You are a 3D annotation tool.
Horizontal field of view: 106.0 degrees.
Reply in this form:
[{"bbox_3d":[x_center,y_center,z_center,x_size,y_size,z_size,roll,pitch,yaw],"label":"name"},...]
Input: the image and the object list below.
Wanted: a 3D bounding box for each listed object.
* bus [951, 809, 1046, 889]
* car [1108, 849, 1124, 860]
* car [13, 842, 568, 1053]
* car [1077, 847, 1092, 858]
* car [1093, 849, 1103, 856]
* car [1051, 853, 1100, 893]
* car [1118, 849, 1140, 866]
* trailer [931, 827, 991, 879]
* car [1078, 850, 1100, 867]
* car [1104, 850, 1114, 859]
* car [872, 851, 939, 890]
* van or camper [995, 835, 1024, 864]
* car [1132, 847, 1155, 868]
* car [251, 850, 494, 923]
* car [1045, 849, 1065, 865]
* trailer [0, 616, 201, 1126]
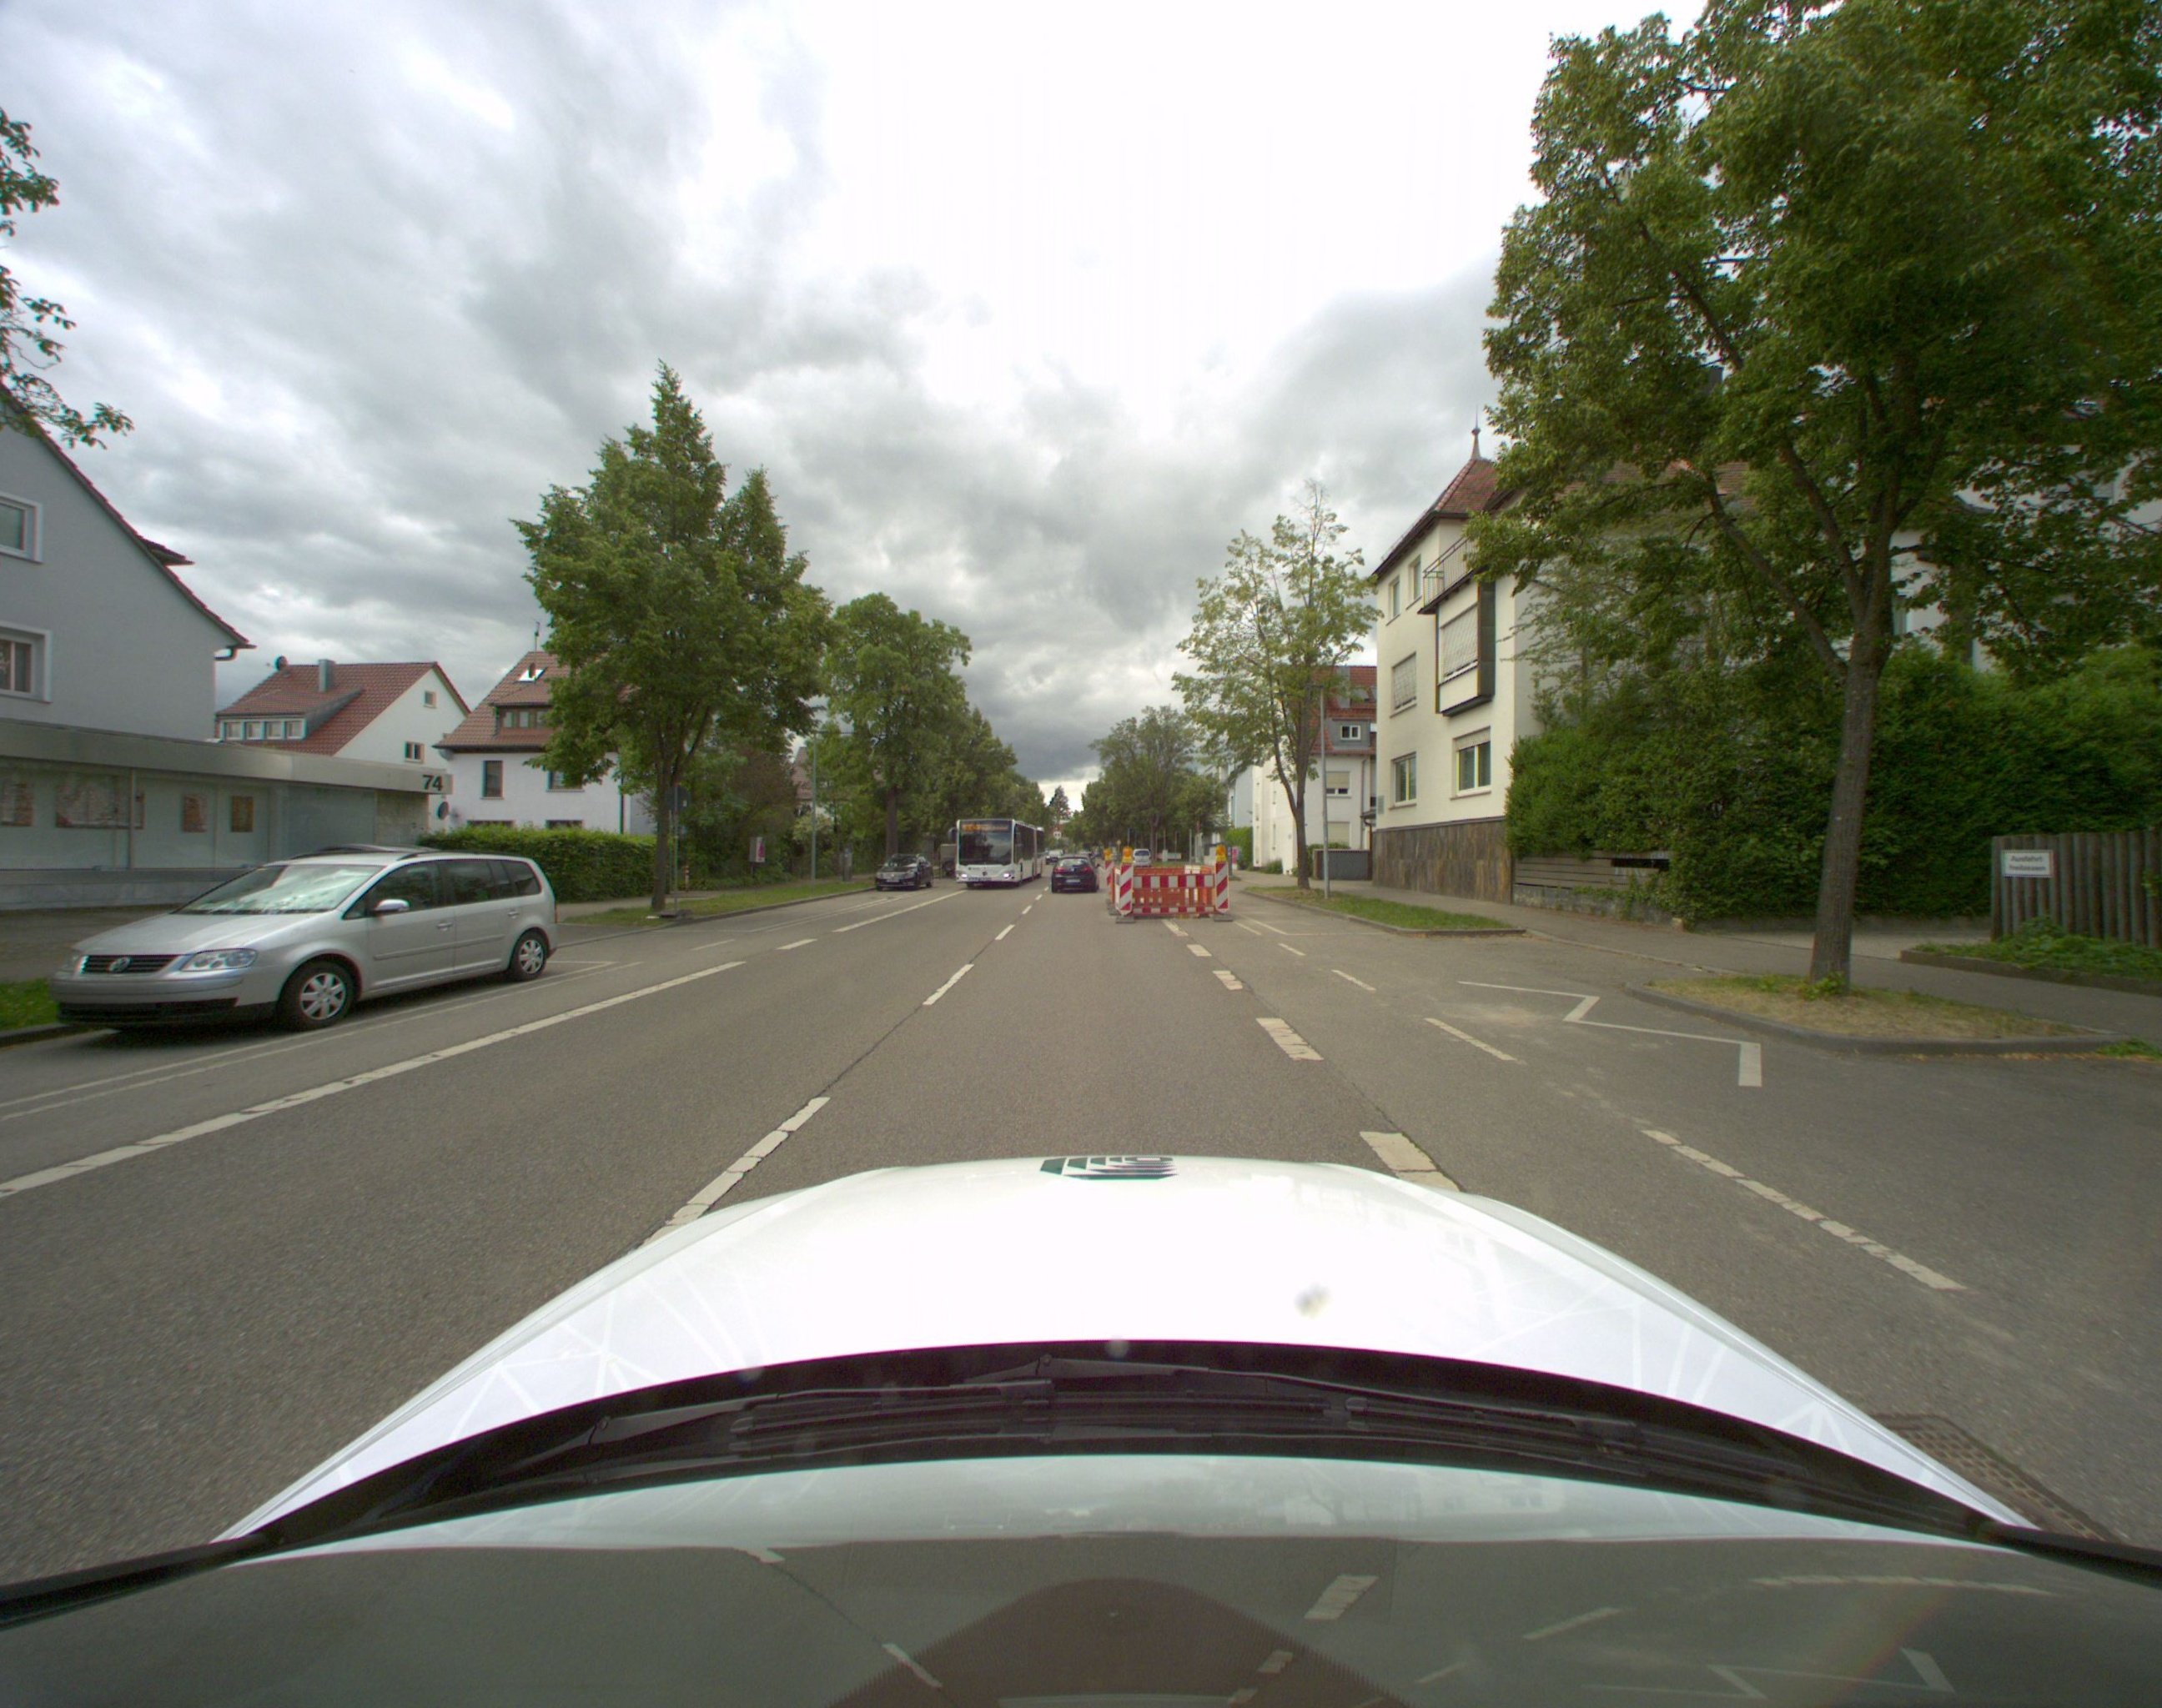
[{"bbox_3d":[-3.807,-0.150,42.740,2.795,3.288,18.047,0,0,1],"label":"bus"},{"bbox_3d":[4.761,0.061,111.701,2.014,1.443,5.025,0,0,0],"label":"car"},{"bbox_3d":[-7.665,0.764,8.640,1.683,1.684,4.226,0,0,1],"label":"car"},{"bbox_3d":[0.496,-0.193,114.610,1.988,1.530,3.997,-1,0,-2],"label":"car"},{"bbox_3d":[3.489,-0.348,166.985,1.680,1.432,4.037,-1,0,-5],"label":"car"},{"bbox_3d":[-0.274,0.710,31.994,1.779,1.449,3.554,0,0,-3],"label":"car"},{"bbox_3d":[4.325,0.312,73.788,1.682,1.493,4.226,-1,0,-1],"label":"car"},{"bbox_3d":[-7.225,-0.033,50.088,2.666,2.941,7.472,0,0,-1],"label":"trailer"},{"bbox_3d":[0.801,0.412,80.025,1.986,1.558,4.002,0,0,2],"label":"car"},{"bbox_3d":[4.547,0.072,131.998,1.632,1.420,4.001,-1,0,1],"label":"car"},{"bbox_3d":[-7.467,0.730,35.087,1.854,1.553,4.619,0,-1,0],"label":"car"},{"bbox_3d":[-7.609,-0.460,87.639,2.427,3.009,7.692,-1,0,0],"label":"van or camper"},{"bbox_3d":[5.223,0.275,68.078,1.627,1.665,3.647,-1,0,0],"label":"car"},{"bbox_3d":[-15.600,0.671,18.034,4.056,1.433,1.805,1,1,8],"label":"car"},{"bbox_3d":[-2.929,0.307,93.821,1.986,1.667,4.590,-2,0,1],"label":"car"},{"bbox_3d":[-7.688,0.124,2.308,2.361,2.963,7.020,-1,0,5],"label":"trailer"}]
